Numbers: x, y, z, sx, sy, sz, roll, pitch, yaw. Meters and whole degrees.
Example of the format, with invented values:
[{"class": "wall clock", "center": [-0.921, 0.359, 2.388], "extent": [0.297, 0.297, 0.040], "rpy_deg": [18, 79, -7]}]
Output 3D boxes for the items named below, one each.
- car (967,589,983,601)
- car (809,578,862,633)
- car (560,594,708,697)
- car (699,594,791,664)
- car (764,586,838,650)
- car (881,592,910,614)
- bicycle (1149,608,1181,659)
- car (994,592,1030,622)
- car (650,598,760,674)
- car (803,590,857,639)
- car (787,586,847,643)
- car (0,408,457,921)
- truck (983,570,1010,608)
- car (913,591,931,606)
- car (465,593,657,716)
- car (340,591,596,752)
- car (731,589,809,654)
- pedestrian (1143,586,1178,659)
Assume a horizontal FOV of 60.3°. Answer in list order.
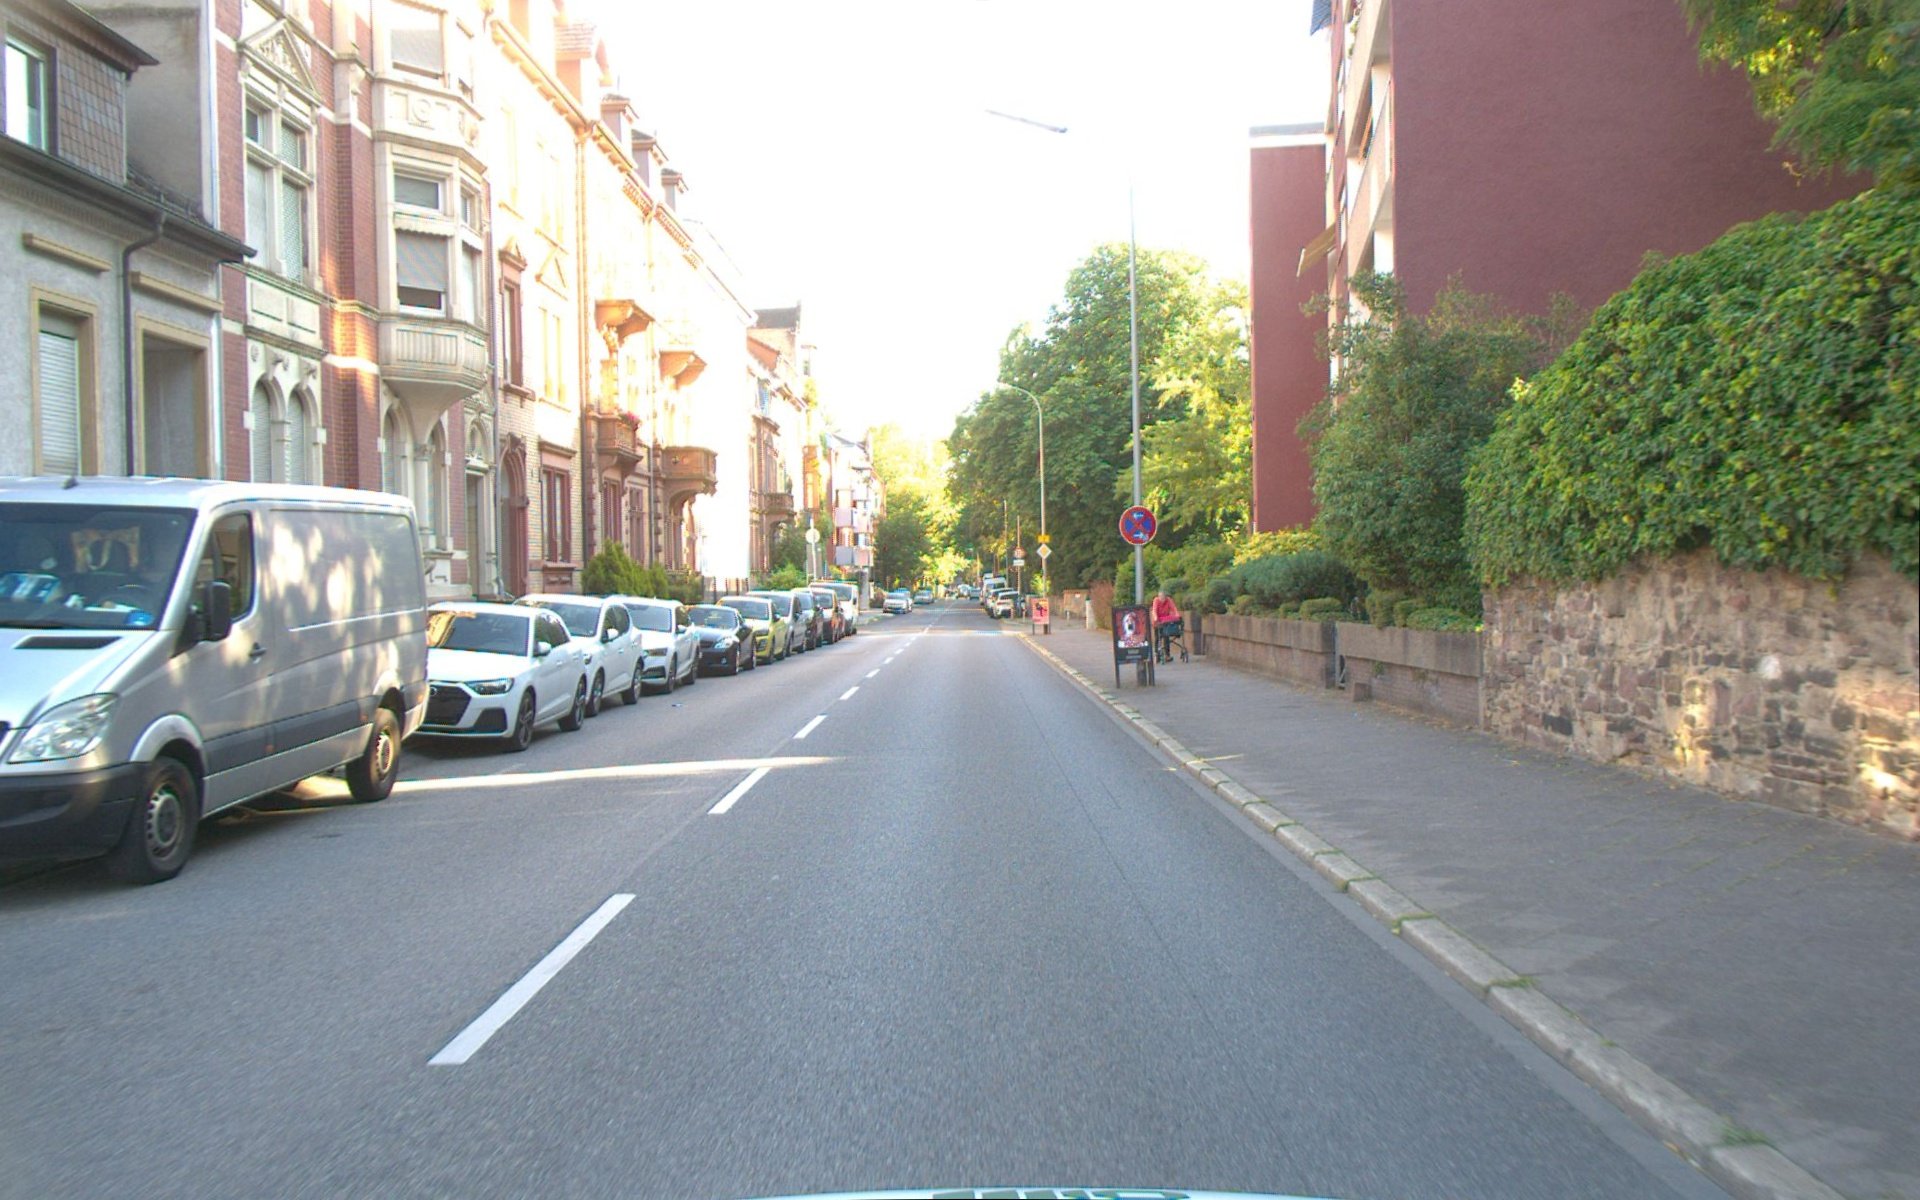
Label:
[{"class": "car", "center": [2.012, -0.700, 229.024], "extent": [1.954, 1.517, 4.468], "rpy_deg": [-1, 1, -3]}, {"class": "car", "center": [-4.801, 0.200, 64.321], "extent": [1.756, 2.045, 4.697], "rpy_deg": [0, 1, -1]}, {"class": "car", "center": [-5.417, 0.701, 28.020], "extent": [1.668, 1.563, 4.548], "rpy_deg": [0, 1, -1]}, {"class": "car", "center": [-4.924, 0.669, 38.335], "extent": [1.668, 1.529, 4.071], "rpy_deg": [0, -1, -1]}, {"class": "car", "center": [-4.589, 0.481, 48.245], "extent": [1.667, 1.737, 4.441], "rpy_deg": [1, 1, 1]}, {"class": "car", "center": [-4.884, 0.240, 125.464], "extent": [1.953, 1.517, 4.471], "rpy_deg": [-1, 1, 0]}, {"class": "bicycle", "center": [4.060, 0.654, 32.704], "extent": [0.555, 0.987, 0.492], "rpy_deg": [0, 1, -1]}, {"class": "car", "center": [2.920, 0.368, 92.774], "extent": [1.952, 1.544, 4.001], "rpy_deg": [-1, 1, 2]}, {"class": "car", "center": [-5.067, 0.680, 33.257], "extent": [1.668, 1.390, 3.859], "rpy_deg": [1, 1, -1]}, {"class": "car", "center": [-4.608, 0.481, 59.125], "extent": [1.668, 1.648, 4.117], "rpy_deg": [0, 1, -1]}, {"class": "car", "center": [-4.594, 0.430, 53.476], "extent": [1.668, 1.769, 3.856], "rpy_deg": [0, 1, -1]}, {"class": "car", "center": [-5.334, 0.280, 11.086], "extent": [2.025, 2.503, 6.014], "rpy_deg": [1, 1, 0]}, {"class": "truck", "center": [2.957, -0.897, 134.211], "extent": [1.953, 2.947, 4.470], "rpy_deg": [-1, 1, 0]}, {"class": "car", "center": [-4.351, -0.203, 192.048], "extent": [1.953, 1.517, 4.471], "rpy_deg": [-1, 1, 0]}, {"class": "car", "center": [-5.466, 0.683, 23.126], "extent": [1.667, 1.529, 4.021], "rpy_deg": [1, 1, 0]}, {"class": "car", "center": [-5.171, 0.678, 17.875], "extent": [1.668, 1.529, 3.822], "rpy_deg": [0, 1, -1]}, {"class": "car", "center": [-4.929, 0.527, 43.345], "extent": [1.668, 1.611, 3.634], "rpy_deg": [0, 1, -1]}, {"class": "pedestrian", "center": [4.039, 0.443, 33.300], "extent": [0.585, 1.427, 0.668], "rpy_deg": [0, 1, -2]}]
